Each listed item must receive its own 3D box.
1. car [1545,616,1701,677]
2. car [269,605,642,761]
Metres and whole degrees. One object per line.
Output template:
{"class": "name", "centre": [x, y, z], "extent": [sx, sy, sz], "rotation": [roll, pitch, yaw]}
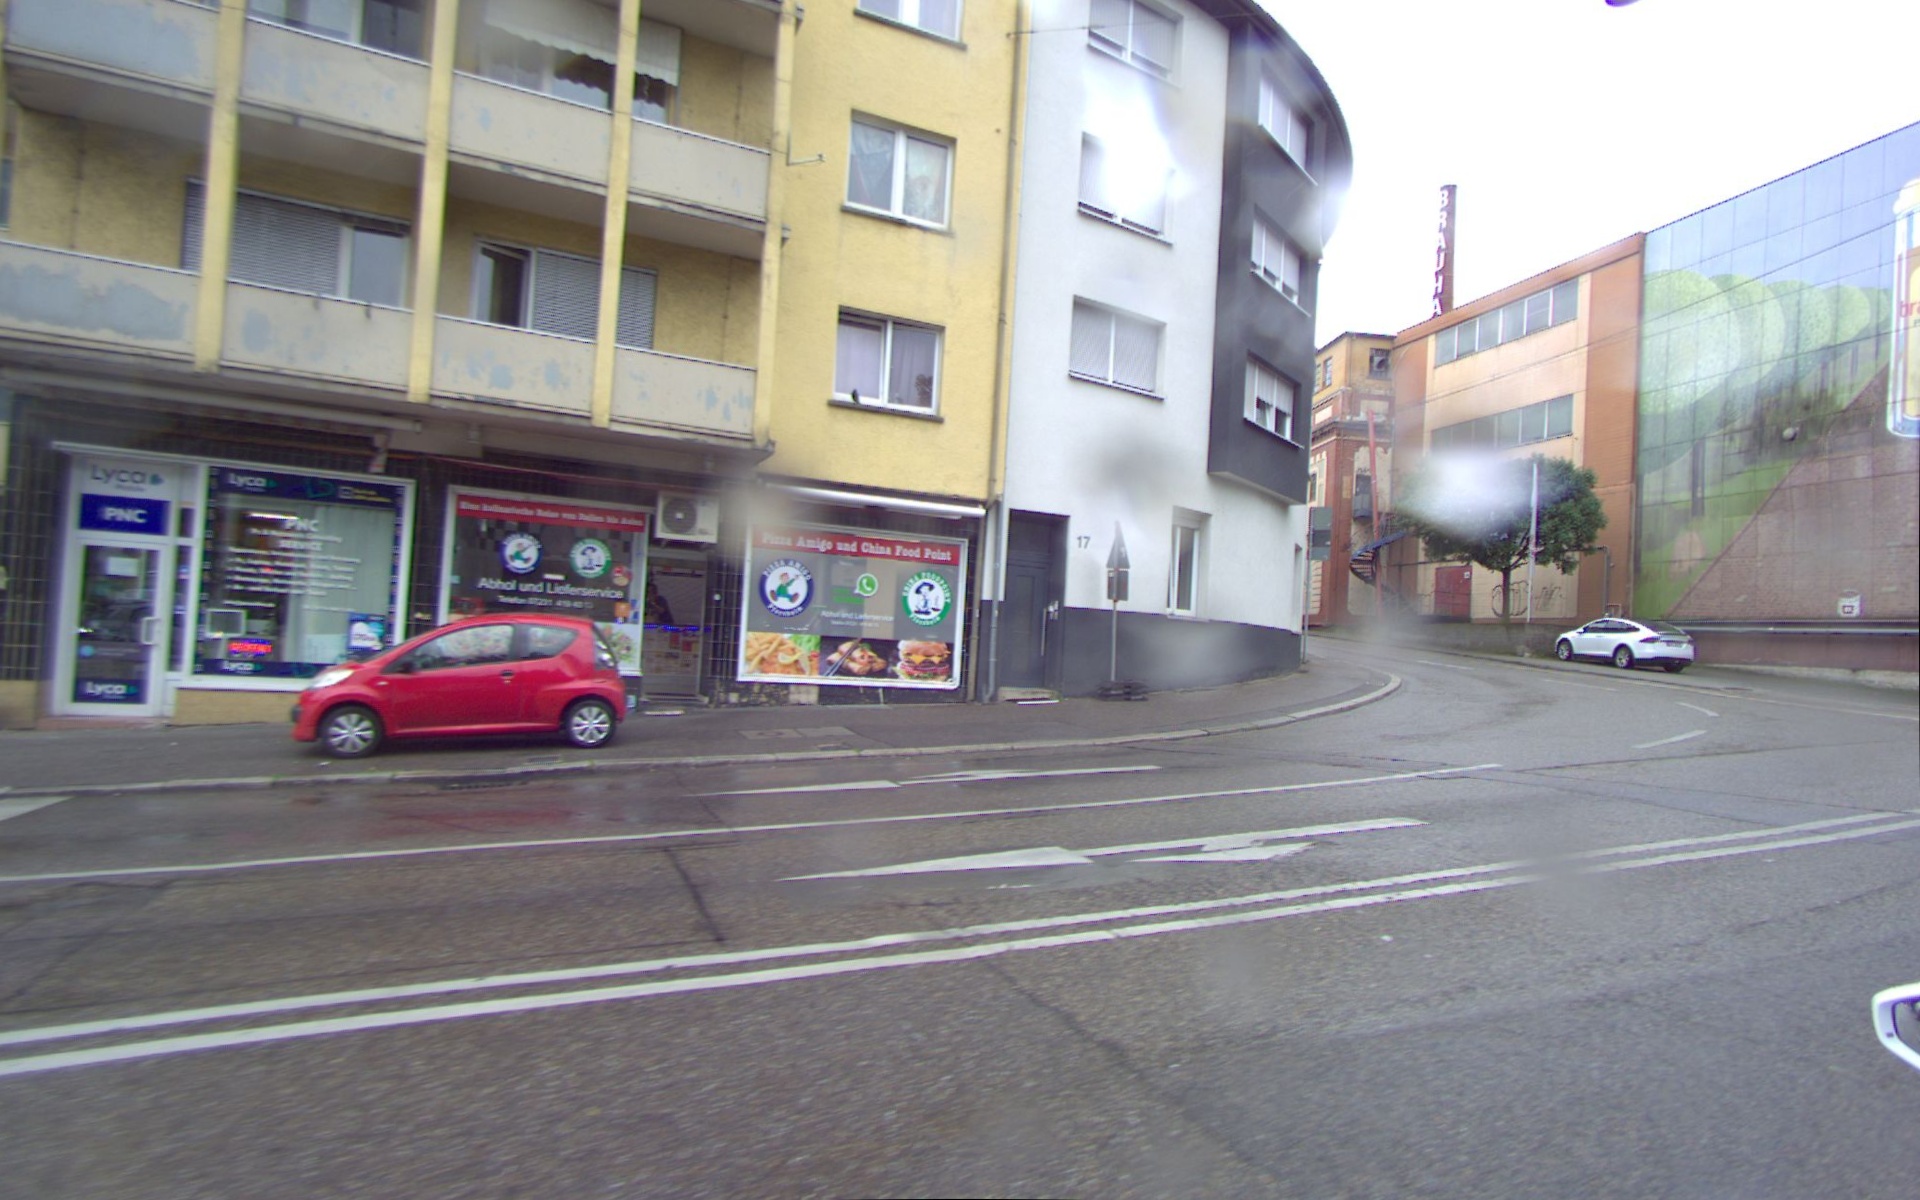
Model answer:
{"class": "car", "centre": [22.961, 1.561, 35.063], "extent": [1.824, 1.639, 4.911], "rotation": [4, 2, -4]}
{"class": "car", "centre": [-5.488, 0.870, 11.315], "extent": [3.483, 1.484, 1.606], "rotation": [2, 1, -23]}
